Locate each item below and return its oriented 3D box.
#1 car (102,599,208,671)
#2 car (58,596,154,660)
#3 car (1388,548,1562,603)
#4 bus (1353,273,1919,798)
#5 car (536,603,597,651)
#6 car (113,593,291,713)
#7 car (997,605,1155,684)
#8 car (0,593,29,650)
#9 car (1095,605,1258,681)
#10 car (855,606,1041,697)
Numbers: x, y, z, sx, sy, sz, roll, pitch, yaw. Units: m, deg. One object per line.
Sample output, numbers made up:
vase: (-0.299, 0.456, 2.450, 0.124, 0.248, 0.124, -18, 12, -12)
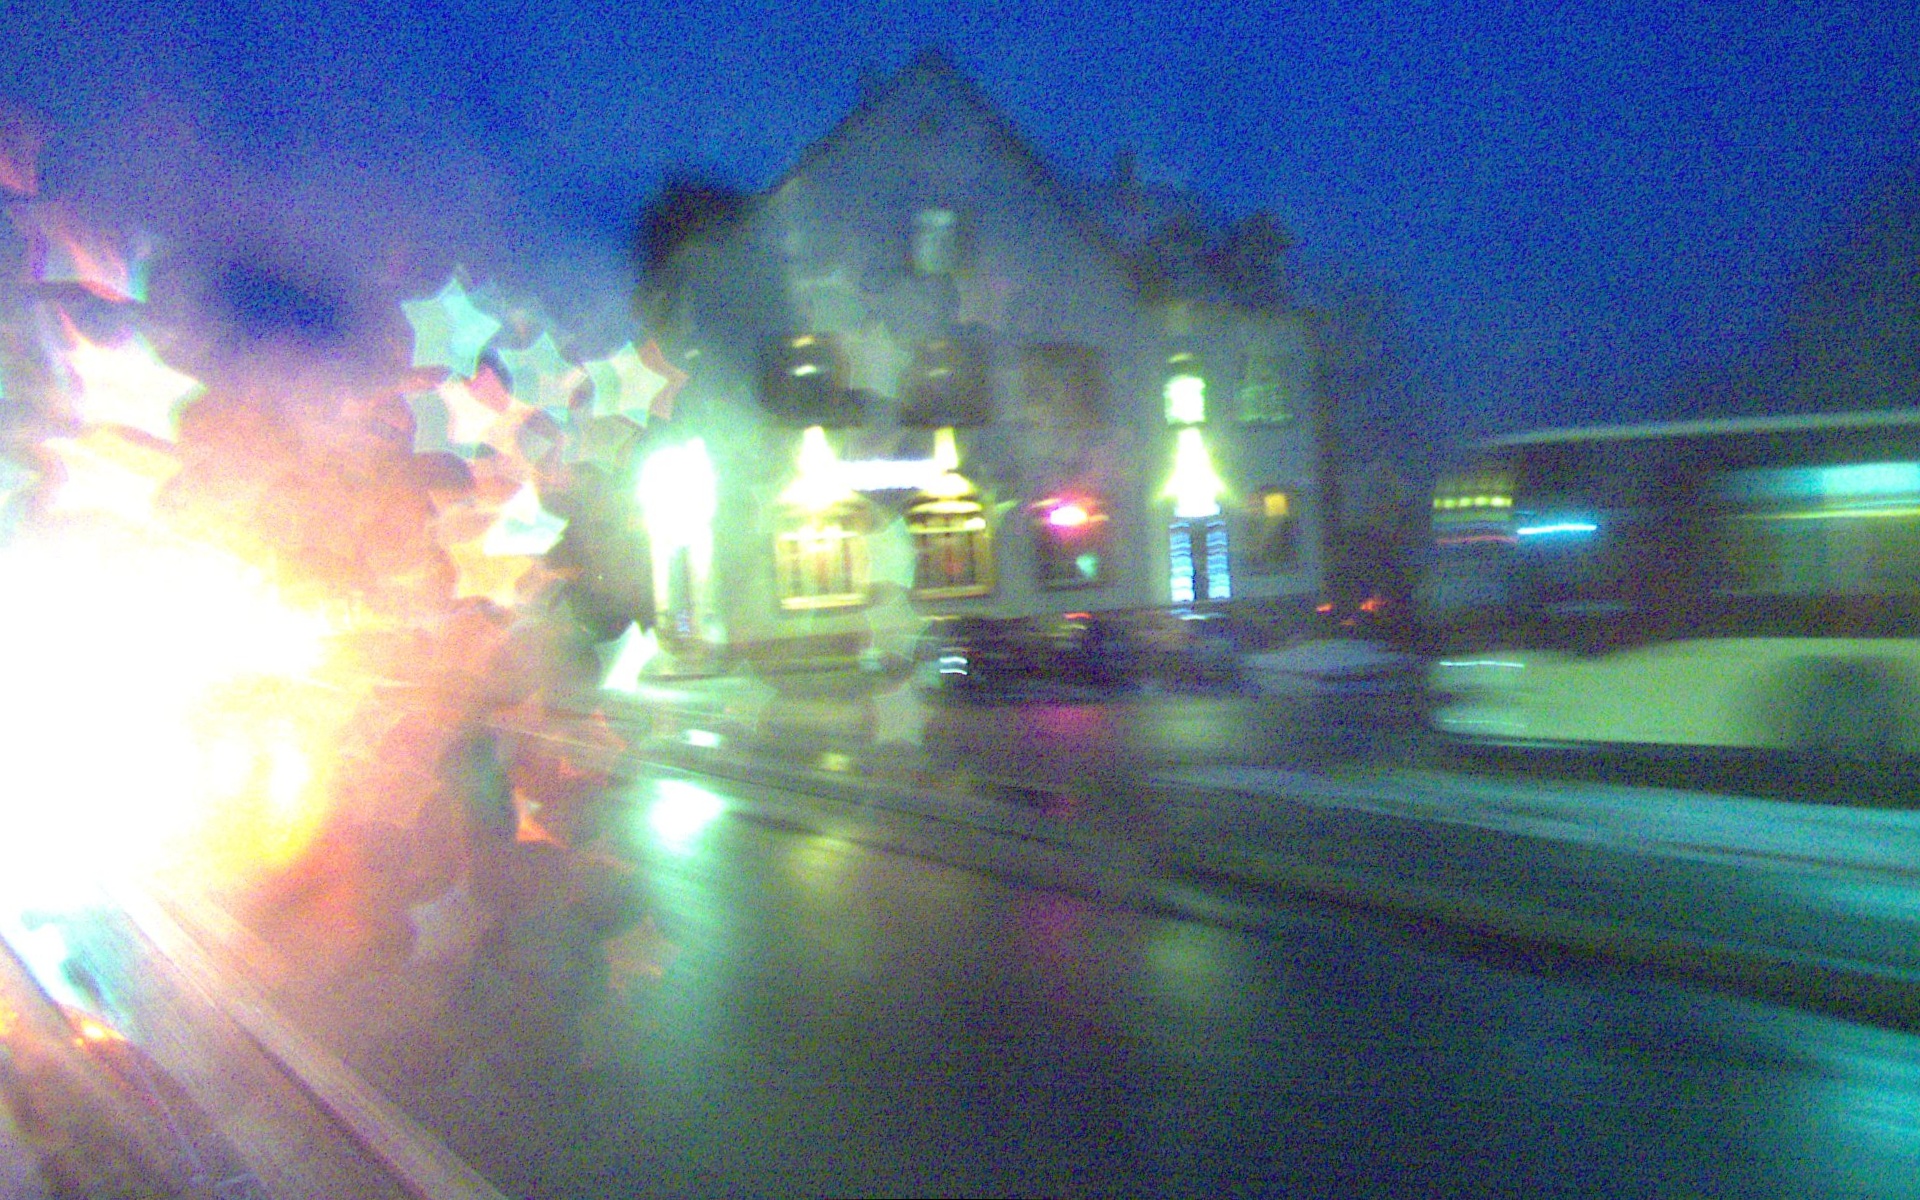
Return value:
car: (-19.190, 0.770, 24.075, 1.692, 1.487, 3.874, -4, 2, -42)
car: (-24.610, 0.728, 29.236, 1.931, 1.533, 4.407, -3, 3, -39)
car: (14.352, -0.704, 28.454, 1.829, 1.408, 4.053, 1, 2, -24)
bus: (10.098, -0.559, 7.916, 12.964, 3.897, 2.883, -1, 1, 21)
car: (-12.606, 0.831, 32.300, 1.664, 1.408, 4.164, 1, 0, -23)
car: (-11.915, 0.735, 15.824, 1.676, 1.611, 3.803, -2, 1, -45)
car: (2.395, 0.900, 21.873, 1.664, 1.408, 3.744, 1, 2, -24)
car: (-32.632, 0.706, 33.950, 1.930, 1.734, 4.006, -1, 2, -41)
car: (4.797, 0.912, 22.921, 1.664, 1.408, 3.744, 1, 2, -24)
car: (-0.399, 0.939, 20.633, 1.818, 1.386, 4.752, -3, 3, -28)
